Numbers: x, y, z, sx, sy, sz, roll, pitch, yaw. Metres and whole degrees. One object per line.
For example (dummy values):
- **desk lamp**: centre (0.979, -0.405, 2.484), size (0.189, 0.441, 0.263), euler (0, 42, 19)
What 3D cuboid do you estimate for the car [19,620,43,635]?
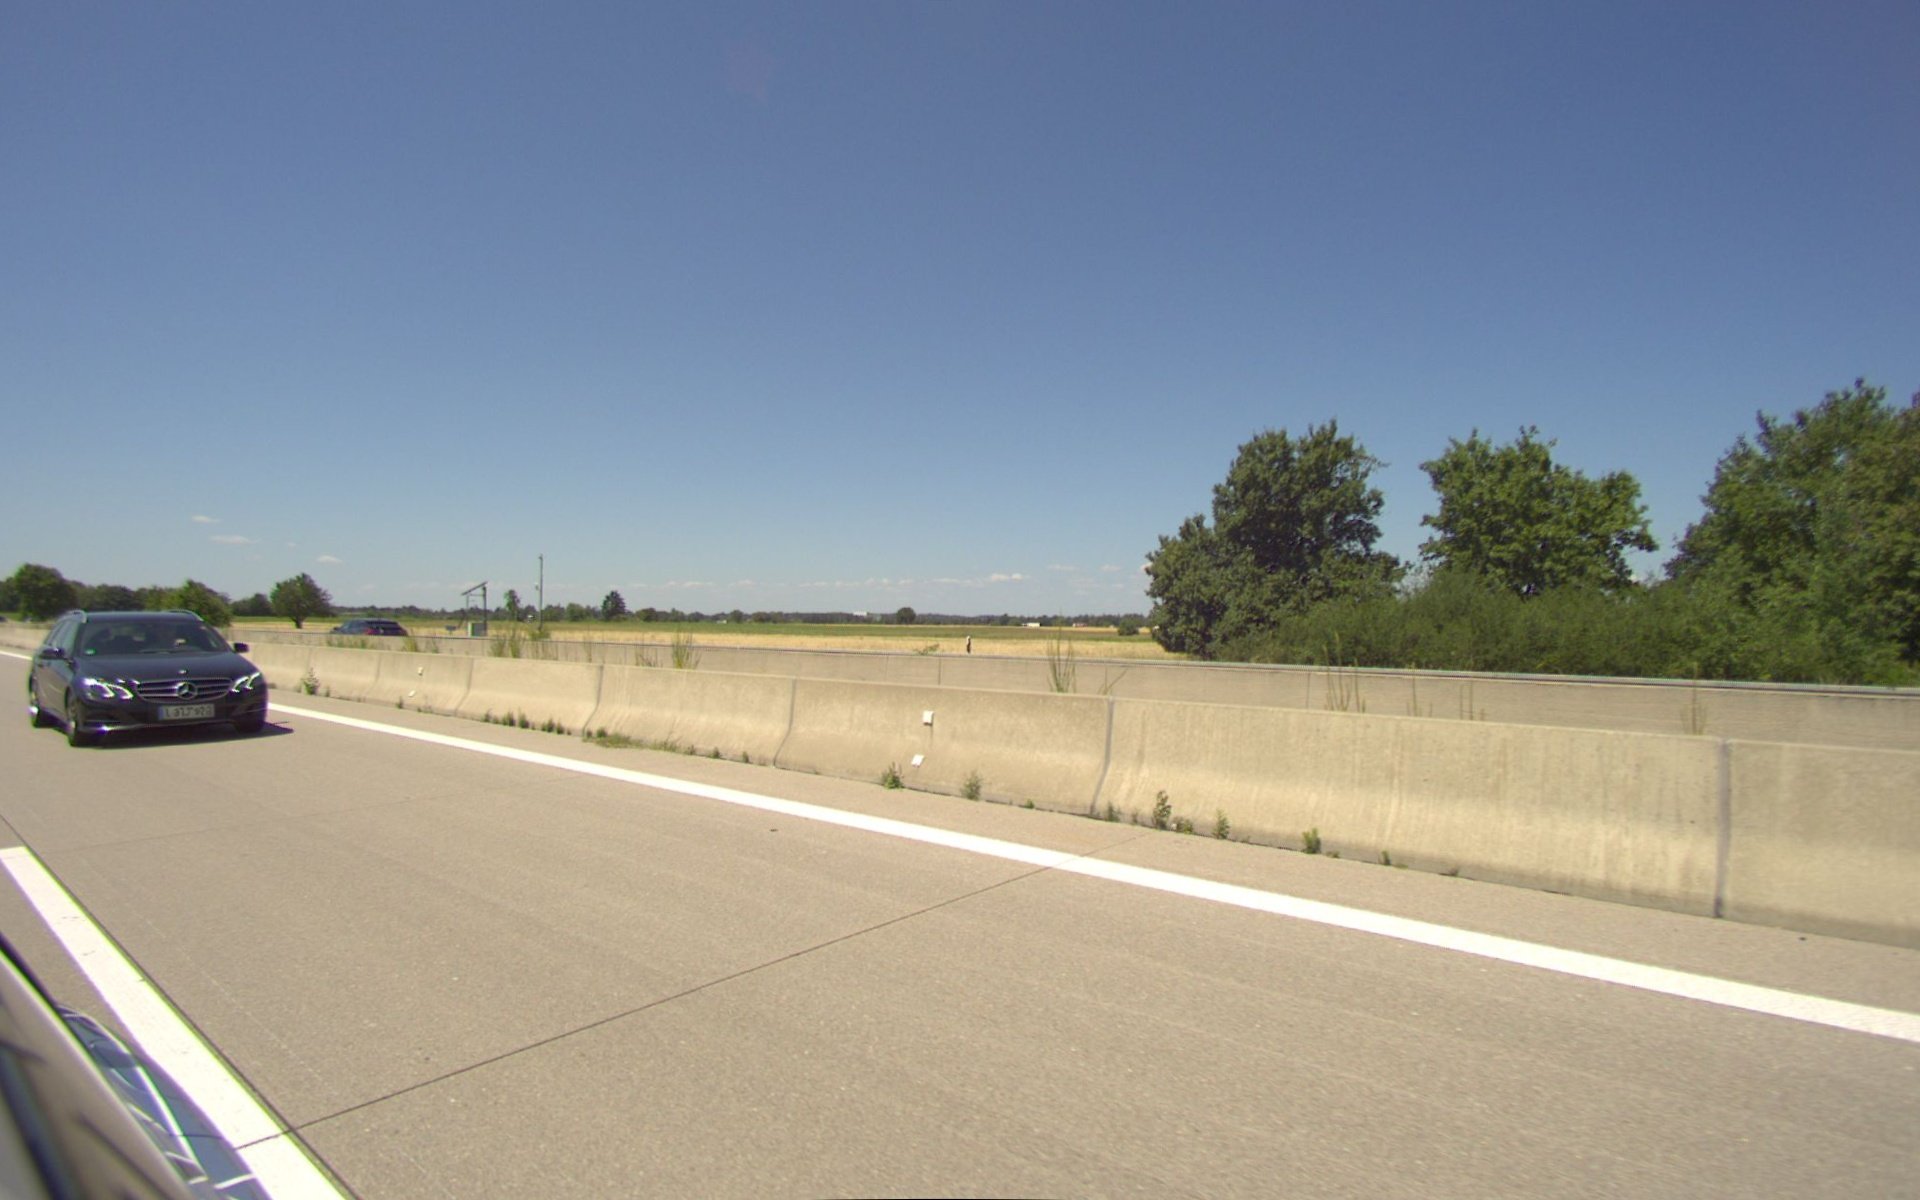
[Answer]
- **car**: centre (-116.658, 3.390, 127.088), size (4.000, 1.796, 1.972), euler (-1, -1, 43)

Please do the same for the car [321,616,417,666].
- **car**: centre (-23.853, 1.605, 40.767), size (4.690, 1.896, 1.973), euler (-1, -1, 42)

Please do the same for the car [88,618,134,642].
- **car**: centre (-69.785, 2.477, 83.138), size (4.810, 1.852, 1.974), euler (-1, 0, 39)

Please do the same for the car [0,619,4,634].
- **car**: centre (-128.605, 3.493, 134.454), size (4.401, 1.929, 1.972), euler (-1, -1, 43)

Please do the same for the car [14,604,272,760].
- **car**: centre (-10.128, 0.877, 12.448), size (3.938, 1.597, 1.824), euler (-1, 0, 41)
